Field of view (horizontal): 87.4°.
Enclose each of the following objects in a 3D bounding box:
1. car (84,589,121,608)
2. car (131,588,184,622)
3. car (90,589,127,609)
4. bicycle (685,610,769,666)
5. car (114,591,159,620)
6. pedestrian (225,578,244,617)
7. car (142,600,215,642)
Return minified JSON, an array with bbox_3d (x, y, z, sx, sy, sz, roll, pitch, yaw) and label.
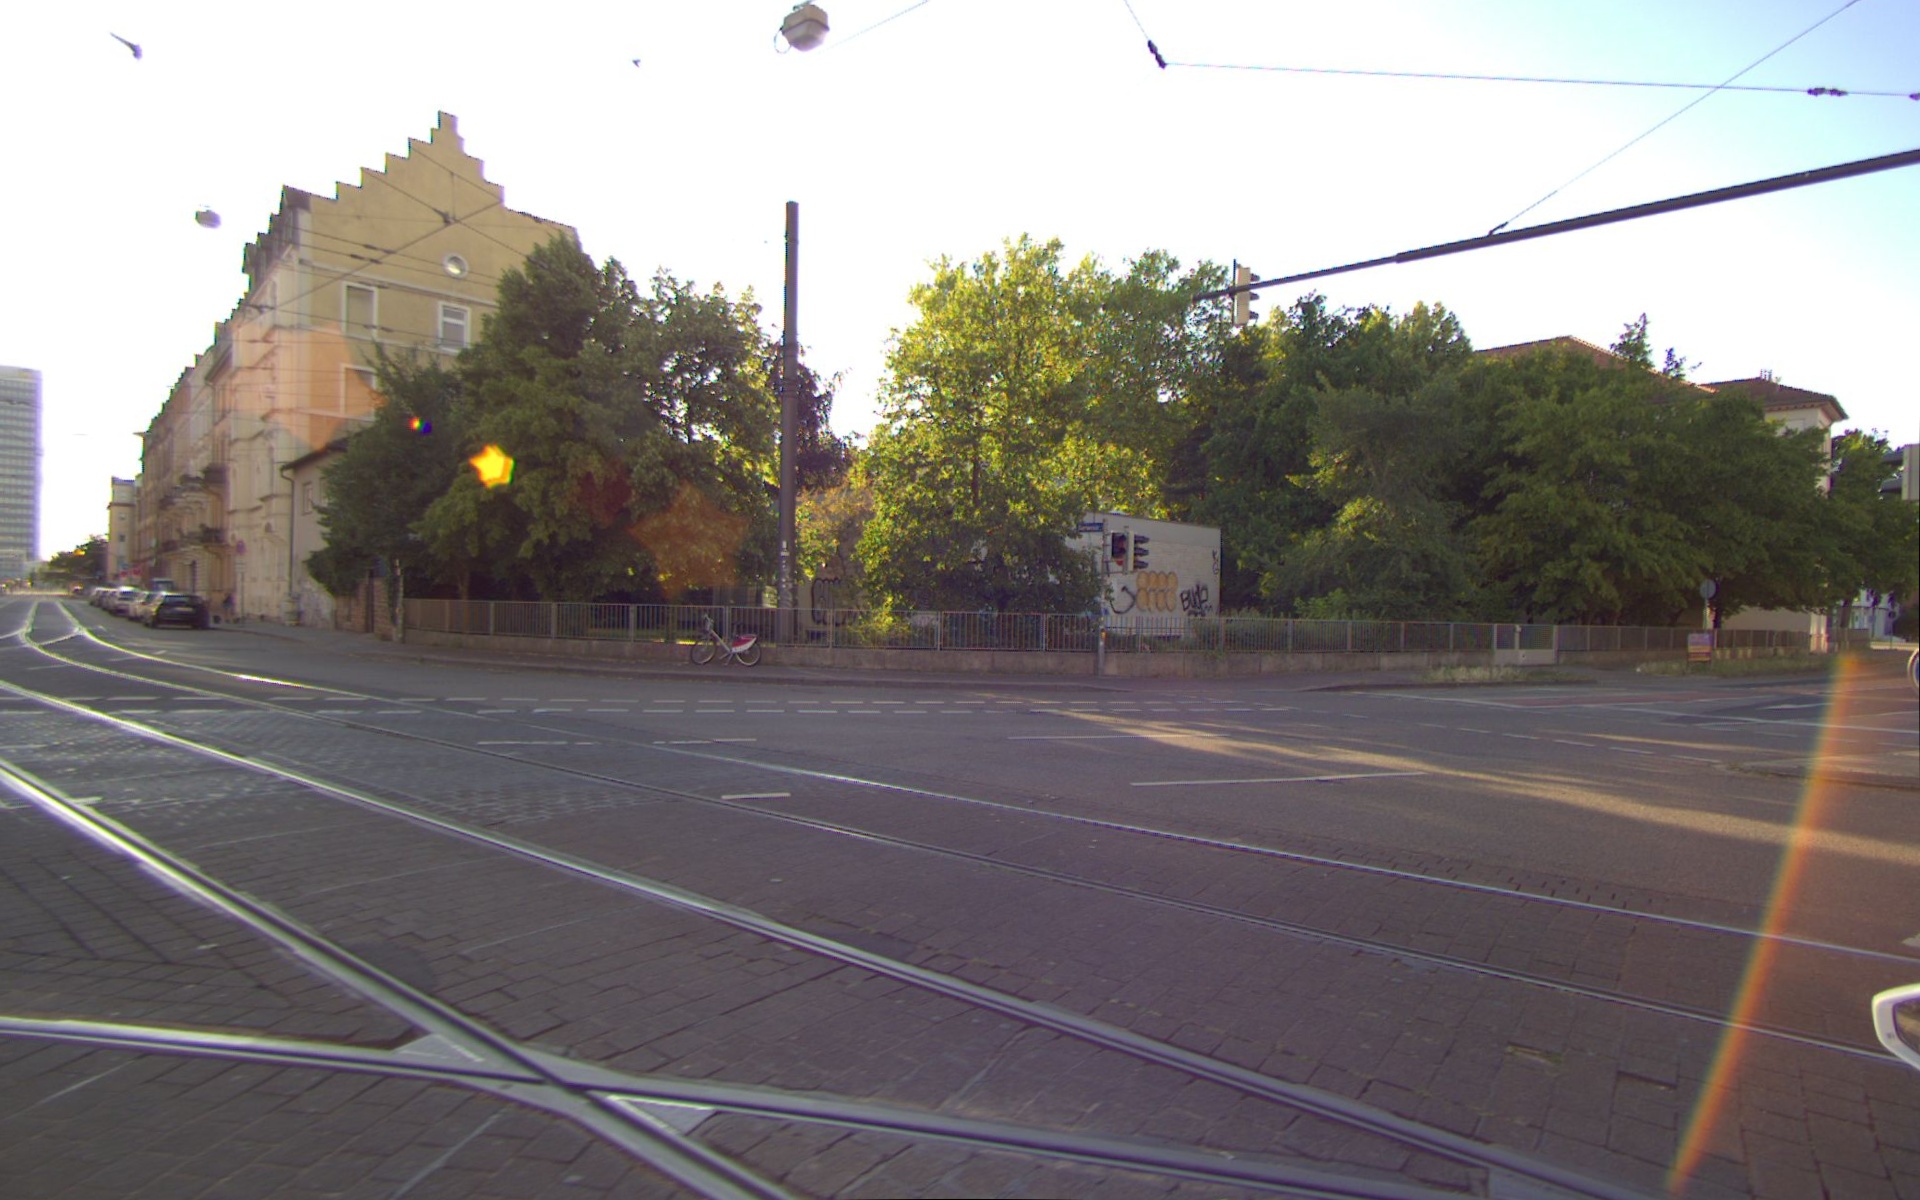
[{"bbox_3d":[-72.430,-0.118,84.807,3.945,1.506,1.988,1,0,44],"label":"car"},{"bbox_3d":[-38.084,0.222,47.633,1.830,1.506,3.953,2,0,-40],"label":"car"},{"bbox_3d":[-67.343,-0.090,79.452,3.945,1.506,1.858,1,0,44],"label":"car"},{"bbox_3d":[-5.100,0.828,22.047,1.687,1.157,0.559,1,0,6],"label":"bicycle"},{"bbox_3d":[-45.396,0.270,55.334,1.834,1.506,3.953,2,0,-40],"label":"car"},{"bbox_3d":[-32.870,-0.110,45.510,0.582,1.728,0.708,1,0,-43],"label":"pedestrian"},{"bbox_3d":[-31.244,0.813,40.116,1.986,1.506,3.949,2,0,-43],"label":"car"}]
